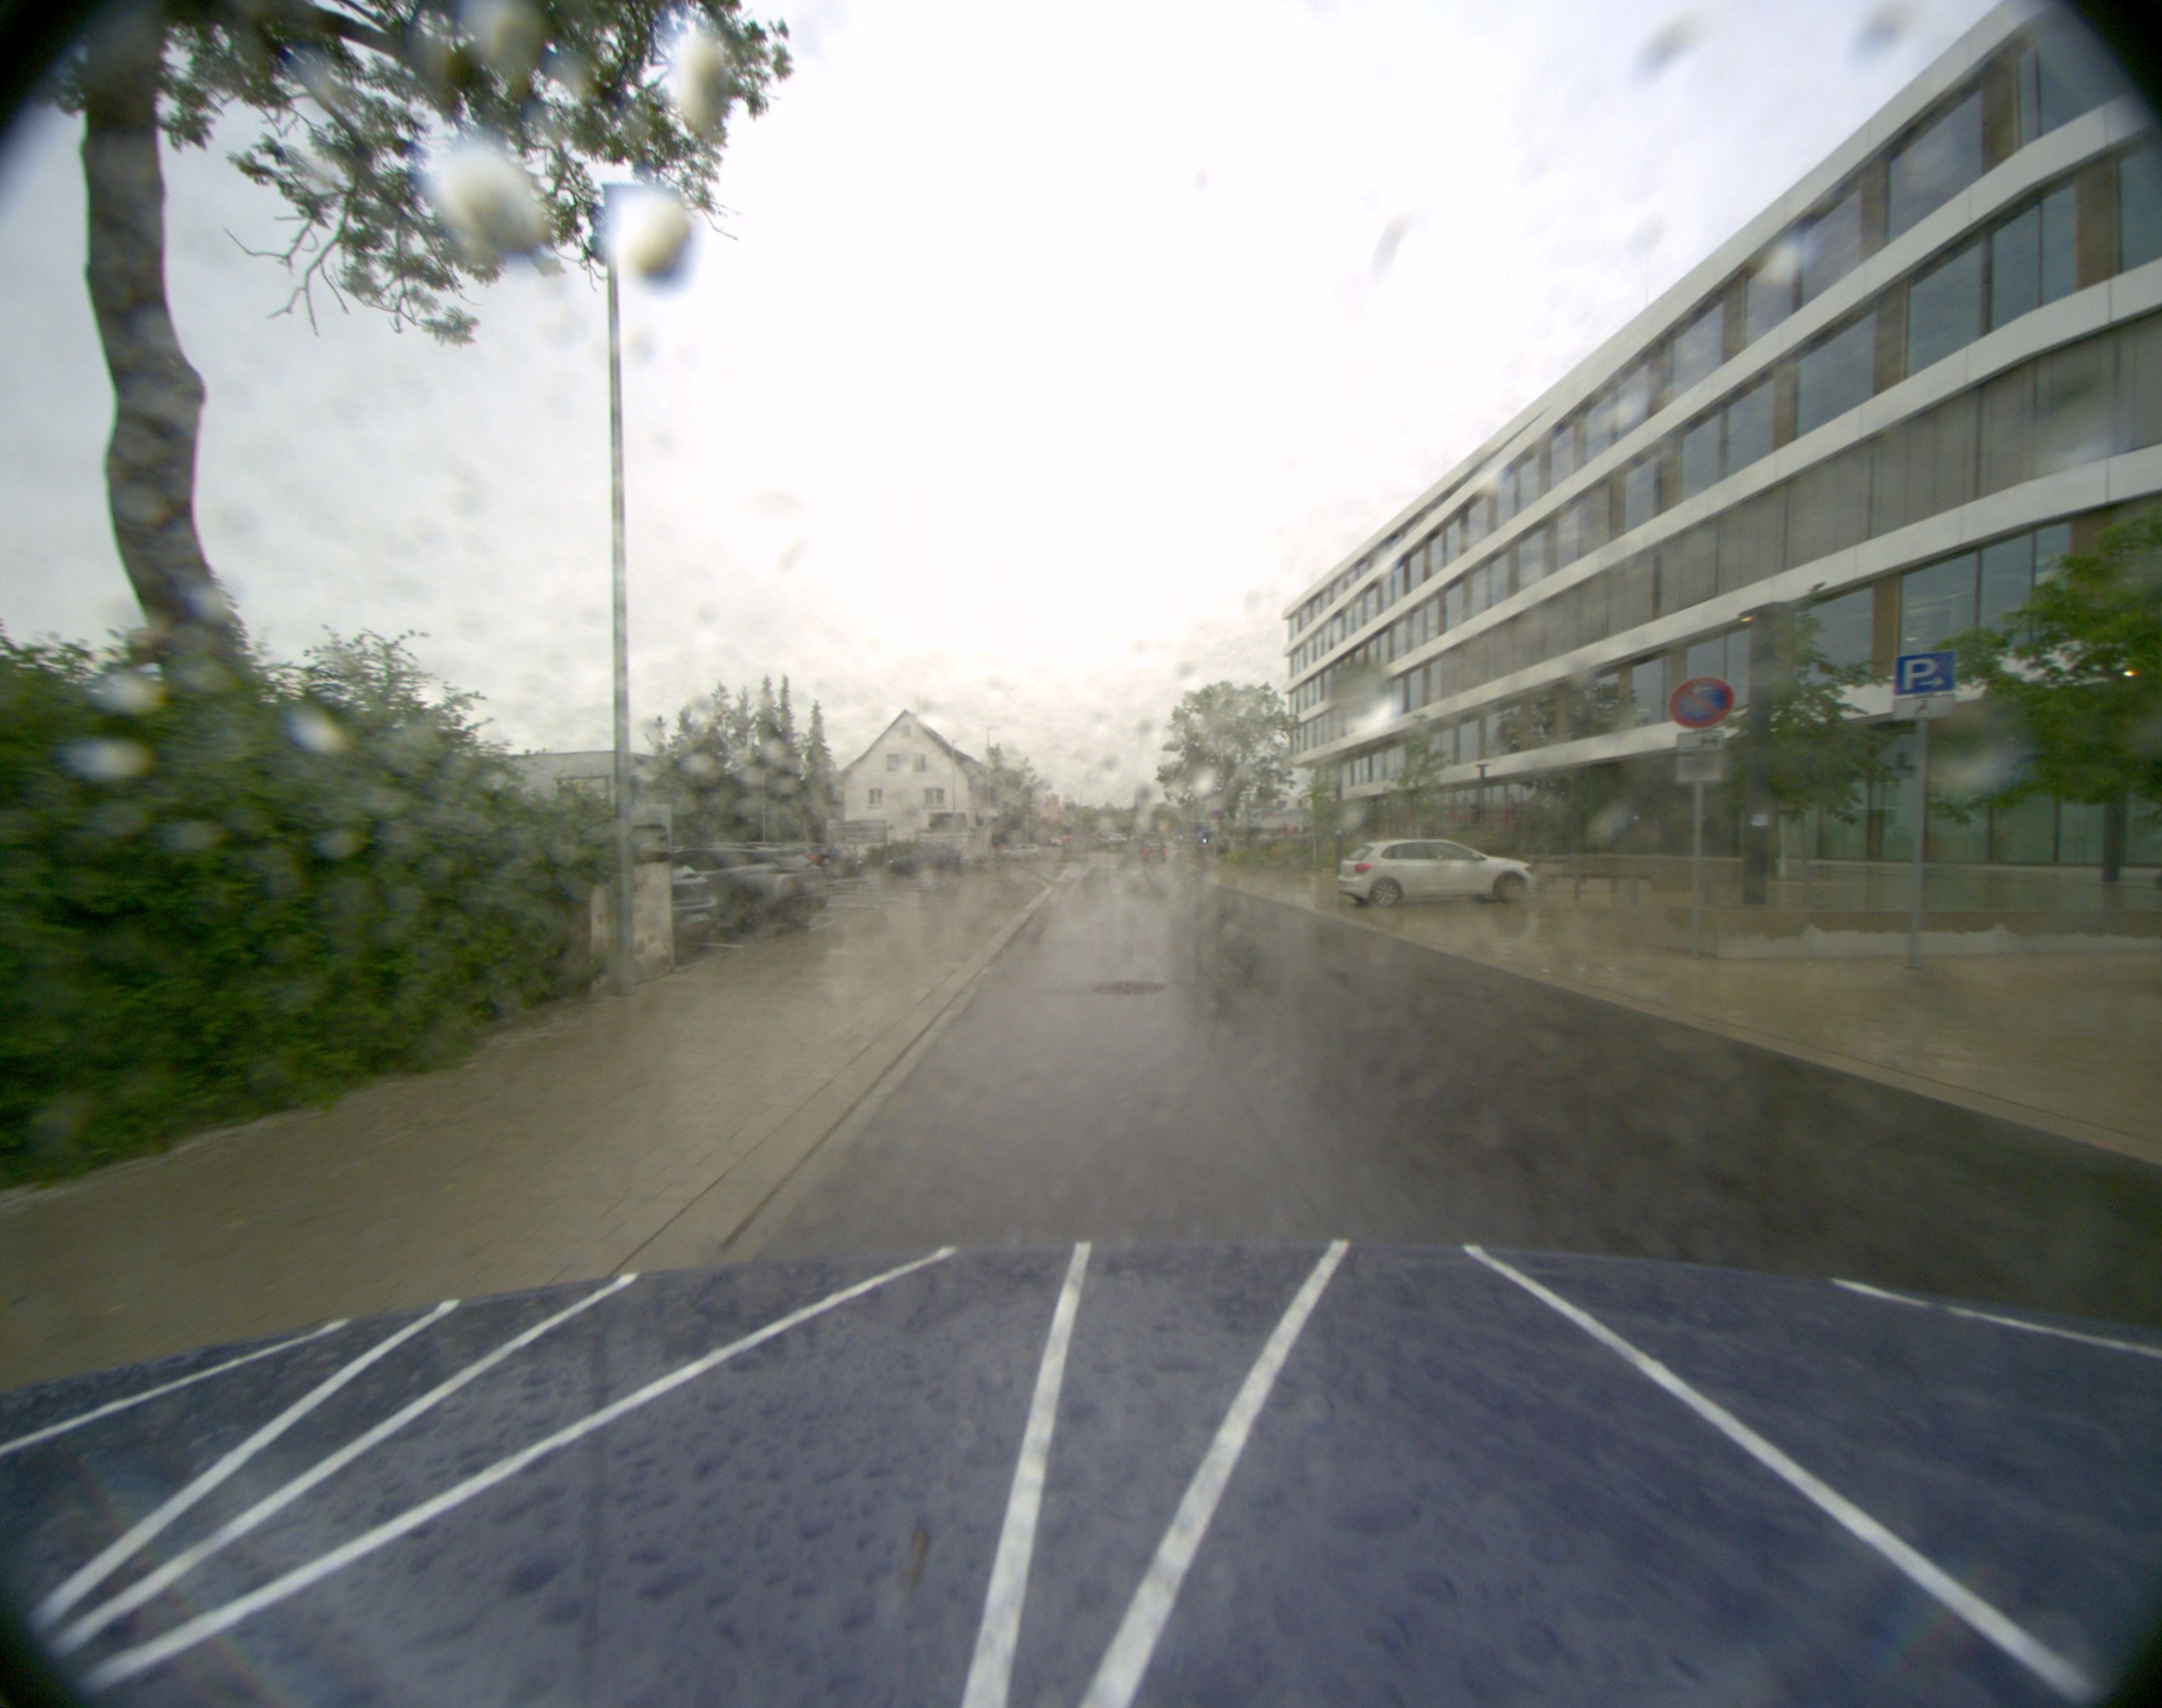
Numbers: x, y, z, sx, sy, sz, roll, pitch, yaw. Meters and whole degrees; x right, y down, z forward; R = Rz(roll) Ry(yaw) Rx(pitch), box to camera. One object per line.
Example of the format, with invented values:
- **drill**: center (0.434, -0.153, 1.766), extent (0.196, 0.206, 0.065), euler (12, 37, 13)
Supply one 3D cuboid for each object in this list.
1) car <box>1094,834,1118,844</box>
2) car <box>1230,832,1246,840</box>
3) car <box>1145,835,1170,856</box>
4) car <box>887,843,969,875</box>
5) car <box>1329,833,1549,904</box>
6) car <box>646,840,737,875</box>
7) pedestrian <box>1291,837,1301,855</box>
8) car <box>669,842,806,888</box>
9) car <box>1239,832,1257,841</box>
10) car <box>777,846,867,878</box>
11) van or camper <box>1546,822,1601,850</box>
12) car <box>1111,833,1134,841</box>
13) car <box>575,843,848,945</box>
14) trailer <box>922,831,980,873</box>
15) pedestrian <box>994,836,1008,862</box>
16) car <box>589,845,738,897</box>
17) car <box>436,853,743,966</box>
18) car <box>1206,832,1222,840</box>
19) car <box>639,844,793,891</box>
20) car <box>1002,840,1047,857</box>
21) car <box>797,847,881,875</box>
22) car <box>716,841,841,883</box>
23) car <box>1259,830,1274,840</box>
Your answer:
- **car**: center (4.657, -2.861, 142.946), extent (4.095, 1.696, 2.003), euler (-1, 1, 29)
- **car**: center (28.225, -3.199, 136.845), extent (1.883, 1.288, 4.006), euler (-3, 1, 25)
- **car**: center (6.866, -0.757, 68.662), extent (2.007, 1.807, 4.979), euler (-1, 1, 3)
- **car**: center (-7.617, 0.223, 38.093), extent (3.735, 1.520, 1.649), euler (0, 2, 1)
- **car**: center (7.703, 0.287, 16.667), extent (3.937, 1.415, 1.898), euler (-1, 1, 2)
- **car**: center (-21.760, 0.160, 42.486), extent (4.480, 1.818, 1.895), euler (1, 1, 17)
- **pedestrian**: center (22.284, -0.835, 78.802), extent (0.726, 1.694, 0.956), euler (-4, 3, 5)
- **car**: center (-12.926, 0.382, 28.767), extent (4.365, 1.649, 1.786), euler (0, 1, 2)
- **car**: center (27.144, -2.900, 123.267), extent (1.883, 1.288, 4.006), euler (-3, 1, 25)
- **car**: center (-12.326, 0.348, 36.325), extent (3.736, 1.441, 1.730), euler (-1, 1, -2)
- **van or camper**: center (58.026, -2.069, 89.660), extent (5.090, 3.070, 2.003), euler (-2, 1, 22)
- **car**: center (8.327, -3.440, 152.172), extent (3.990, 1.434, 2.003), euler (-1, 1, 26)
- **car**: center (-6.827, 0.653, 14.252), extent (4.214, 1.640, 2.001), euler (1, 2, 11)
- **trailer**: center (-6.911, -0.136, 40.522), extent (2.708, 2.159, 1.548), euler (-1, 1, 3)
- **pedestrian**: center (-6.213, -0.411, 58.999), extent (0.861, 2.002, 1.194), euler (2, 2, -1)
- **car**: center (-12.930, 0.508, 23.655), extent (3.695, 1.492, 1.642), euler (-1, 1, 1)
- **car**: center (-7.338, 0.754, 11.527), extent (3.627, 1.486, 1.807), euler (0, 1, 10)
- **car**: center (26.245, -3.577, 149.529), extent (1.916, 1.521, 4.006), euler (-2, 1, 28)
- **car**: center (-12.494, 0.428, 26.217), extent (4.366, 1.550, 1.839), euler (0, 1, -1)
- **car**: center (-5.547, -0.516, 74.702), extent (4.144, 1.571, 1.997), euler (1, 1, -13)
- **car**: center (-12.285, 0.345, 38.708), extent (3.736, 1.308, 1.692), euler (-1, 1, -2)
- **car**: center (-12.361, 0.317, 31.242), extent (4.366, 1.642, 1.844), euler (0, 1, -1)
- **car**: center (29.993, -3.041, 122.639), extent (1.790, 1.543, 4.005), euler (-1, 1, 22)
